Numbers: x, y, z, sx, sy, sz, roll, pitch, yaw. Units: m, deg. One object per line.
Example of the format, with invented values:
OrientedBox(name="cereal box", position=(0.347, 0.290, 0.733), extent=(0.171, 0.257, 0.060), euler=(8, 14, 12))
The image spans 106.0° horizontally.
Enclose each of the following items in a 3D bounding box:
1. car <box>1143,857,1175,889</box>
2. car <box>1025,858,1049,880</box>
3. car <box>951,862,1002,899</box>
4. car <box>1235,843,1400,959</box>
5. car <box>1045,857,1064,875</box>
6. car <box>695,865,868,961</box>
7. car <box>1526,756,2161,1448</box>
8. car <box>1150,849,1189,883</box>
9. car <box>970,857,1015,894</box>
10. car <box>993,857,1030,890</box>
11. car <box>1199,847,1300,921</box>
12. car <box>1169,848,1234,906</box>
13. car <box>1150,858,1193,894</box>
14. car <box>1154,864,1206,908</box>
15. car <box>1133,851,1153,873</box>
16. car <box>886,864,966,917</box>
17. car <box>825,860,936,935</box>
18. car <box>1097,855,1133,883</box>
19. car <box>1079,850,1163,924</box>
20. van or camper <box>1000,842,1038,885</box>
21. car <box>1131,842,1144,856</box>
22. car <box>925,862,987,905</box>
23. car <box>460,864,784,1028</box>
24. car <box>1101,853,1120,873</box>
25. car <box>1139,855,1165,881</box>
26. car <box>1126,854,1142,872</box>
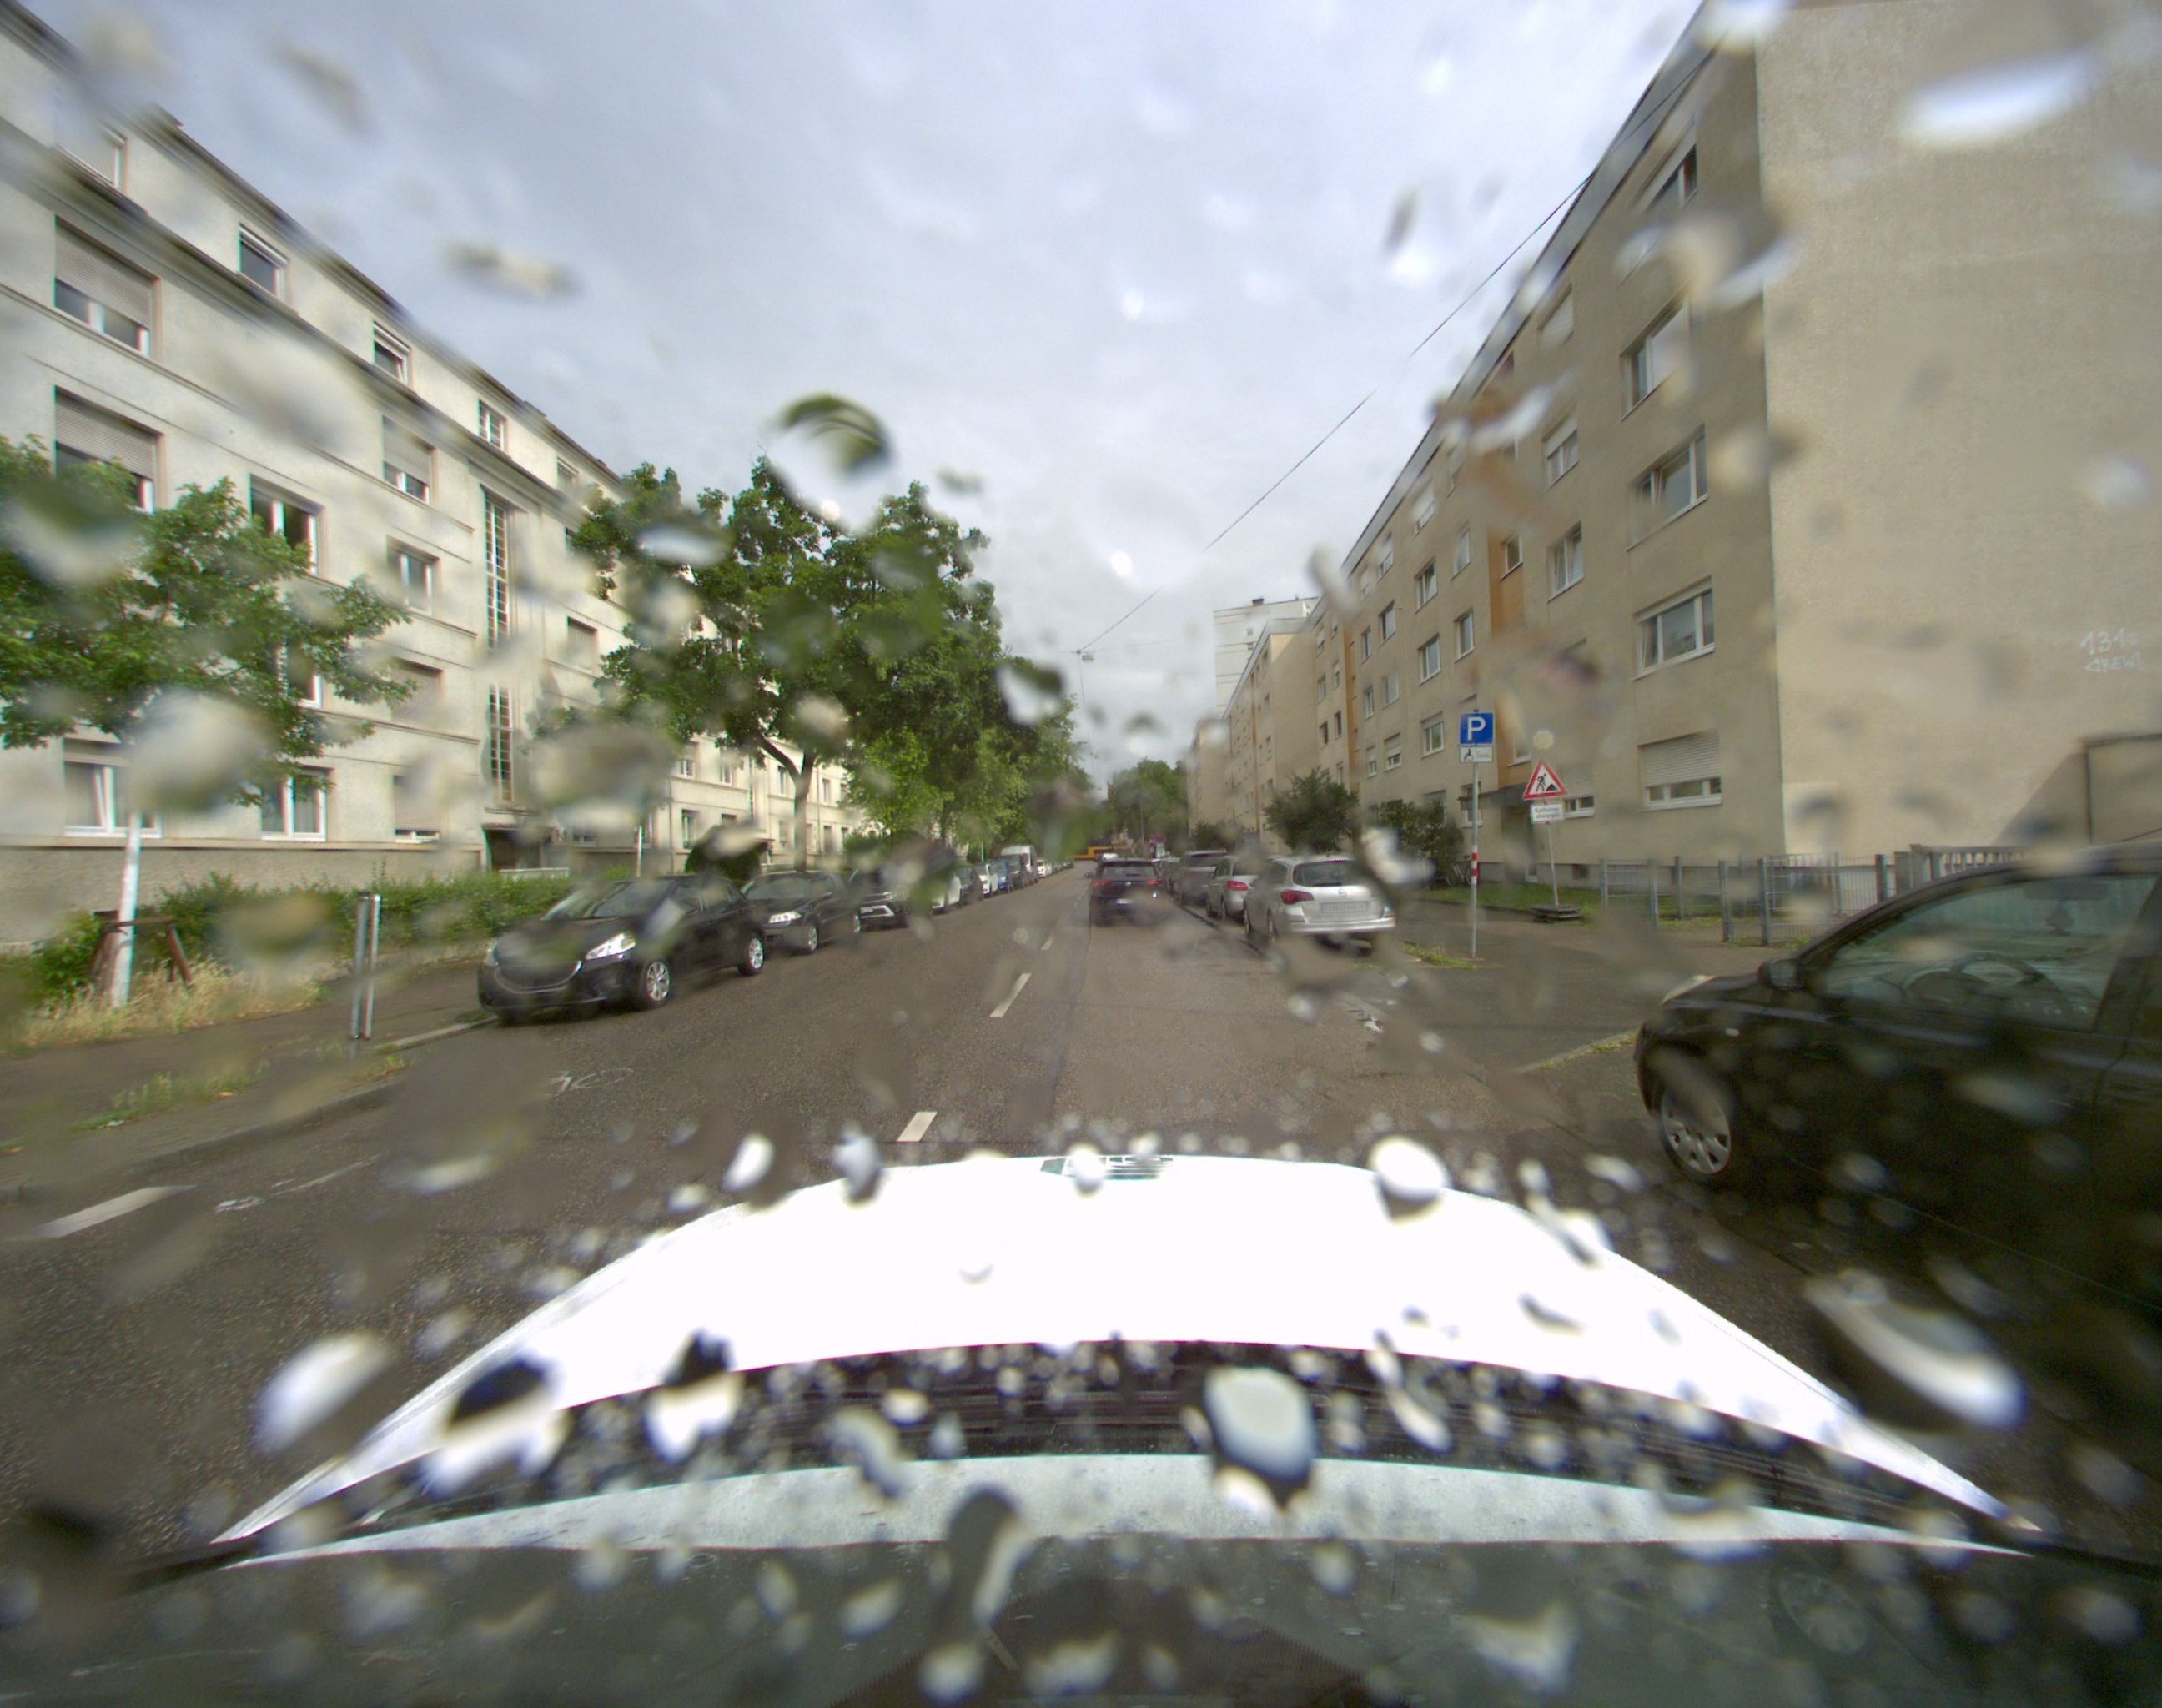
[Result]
OrientedBox(name="car", position=(4.761, 1.137, 50.077), extent=(1.598, 1.765, 4.033), euler=(-3, 0, 2))
OrientedBox(name="car", position=(-3.513, 1.151, 65.934), extent=(1.580, 1.639, 3.921), euler=(-3, 0, 1))
OrientedBox(name="car", position=(-4.513, 1.110, 35.741), extent=(1.580, 1.418, 3.921), euler=(-3, 0, 1))
OrientedBox(name="car", position=(3.721, 0.673, 13.541), extent=(1.688, 1.539, 4.035), euler=(-3, 0, 3))
OrientedBox(name="car", position=(-2.531, 1.144, 79.688), extent=(1.580, 1.639, 3.921), euler=(-3, 0, 1))
OrientedBox(name="car", position=(-5.346, 0.972, 15.139), extent=(1.580, 1.418, 4.053), euler=(-3, 0, 1))
OrientedBox(name="car", position=(3.402, 0.584, 2.797), extent=(1.599, 1.661, 4.033), euler=(-1, 0, 1))
OrientedBox(name="car", position=(4.576, 0.609, 42.445), extent=(1.598, 1.636, 4.033), euler=(-3, 0, 2))
OrientedBox(name="car", position=(-4.270, 1.007, 39.784), extent=(1.580, 1.639, 3.921), euler=(-3, 0, 1))
OrientedBox(name="car", position=(-3.858, 1.058, 45.564), extent=(1.580, 1.639, 3.921), euler=(-3, 0, 1))
OrientedBox(name="car", position=(3.894, 0.646, 19.416), extent=(1.598, 1.506, 4.033), euler=(-3, 0, 2))
OrientedBox(name="car", position=(3.917, 0.718, 27.051), extent=(1.598, 1.672, 4.033), euler=(-3, 0, 2))
OrientedBox(name="car", position=(4.111, 0.974, 37.455), extent=(1.598, 1.506, 4.033), euler=(-3, 0, 2))
OrientedBox(name="car", position=(3.879, 1.224, 32.437), extent=(1.598, 1.506, 4.033), euler=(-3, 0, 2))
OrientedBox(name="car", position=(5.564, 0.716, 73.517), extent=(1.658, 1.838, 4.004), euler=(-3, 0, 3))
OrientedBox(name="car", position=(-4.711, 1.069, 25.221), extent=(1.580, 1.418, 3.921), euler=(-3, 0, 1))
OrientedBox(name="car", position=(-4.802, 0.974, 20.046), extent=(1.580, 1.576, 4.015), euler=(-3, 0, 1))
OrientedBox(name="car", position=(1.996, 0.863, 46.879), extent=(1.804, 1.503, 4.006), euler=(0, -1, 5))
OrientedBox(name="car", position=(1.086, 0.724, 20.192), extent=(1.864, 1.645, 4.068), euler=(0, 0, 5))
OrientedBox(name="van or camper", position=(-3.880, 0.596, 51.727), extent=(1.796, 2.493, 5.021), euler=(-3, 0, 1))
OrientedBox(name="car", position=(7.759, -0.660, 111.419), extent=(1.658, 1.838, 4.004), euler=(-3, 0, 3))
OrientedBox(name="car", position=(-4.595, 1.053, 30.514), extent=(1.580, 1.418, 3.921), euler=(-3, 0, 1))
OrientedBox(name="car", position=(-5.300, 0.944, 10.119), extent=(1.580, 1.506, 4.065), euler=(-3, 0, 1))
OrientedBox(name="car", position=(3.273, 1.031, 89.749), extent=(1.828, 2.103, 4.004), euler=(0, -1, 4))
OrientedBox(name="car", position=(5.205, 1.008, 60.413), extent=(1.598, 1.765, 4.033), euler=(-3, 0, 2))
OrientedBox(name="car", position=(6.056, 1.013, 92.825), extent=(1.658, 1.838, 4.004), euler=(-3, 0, 3))
